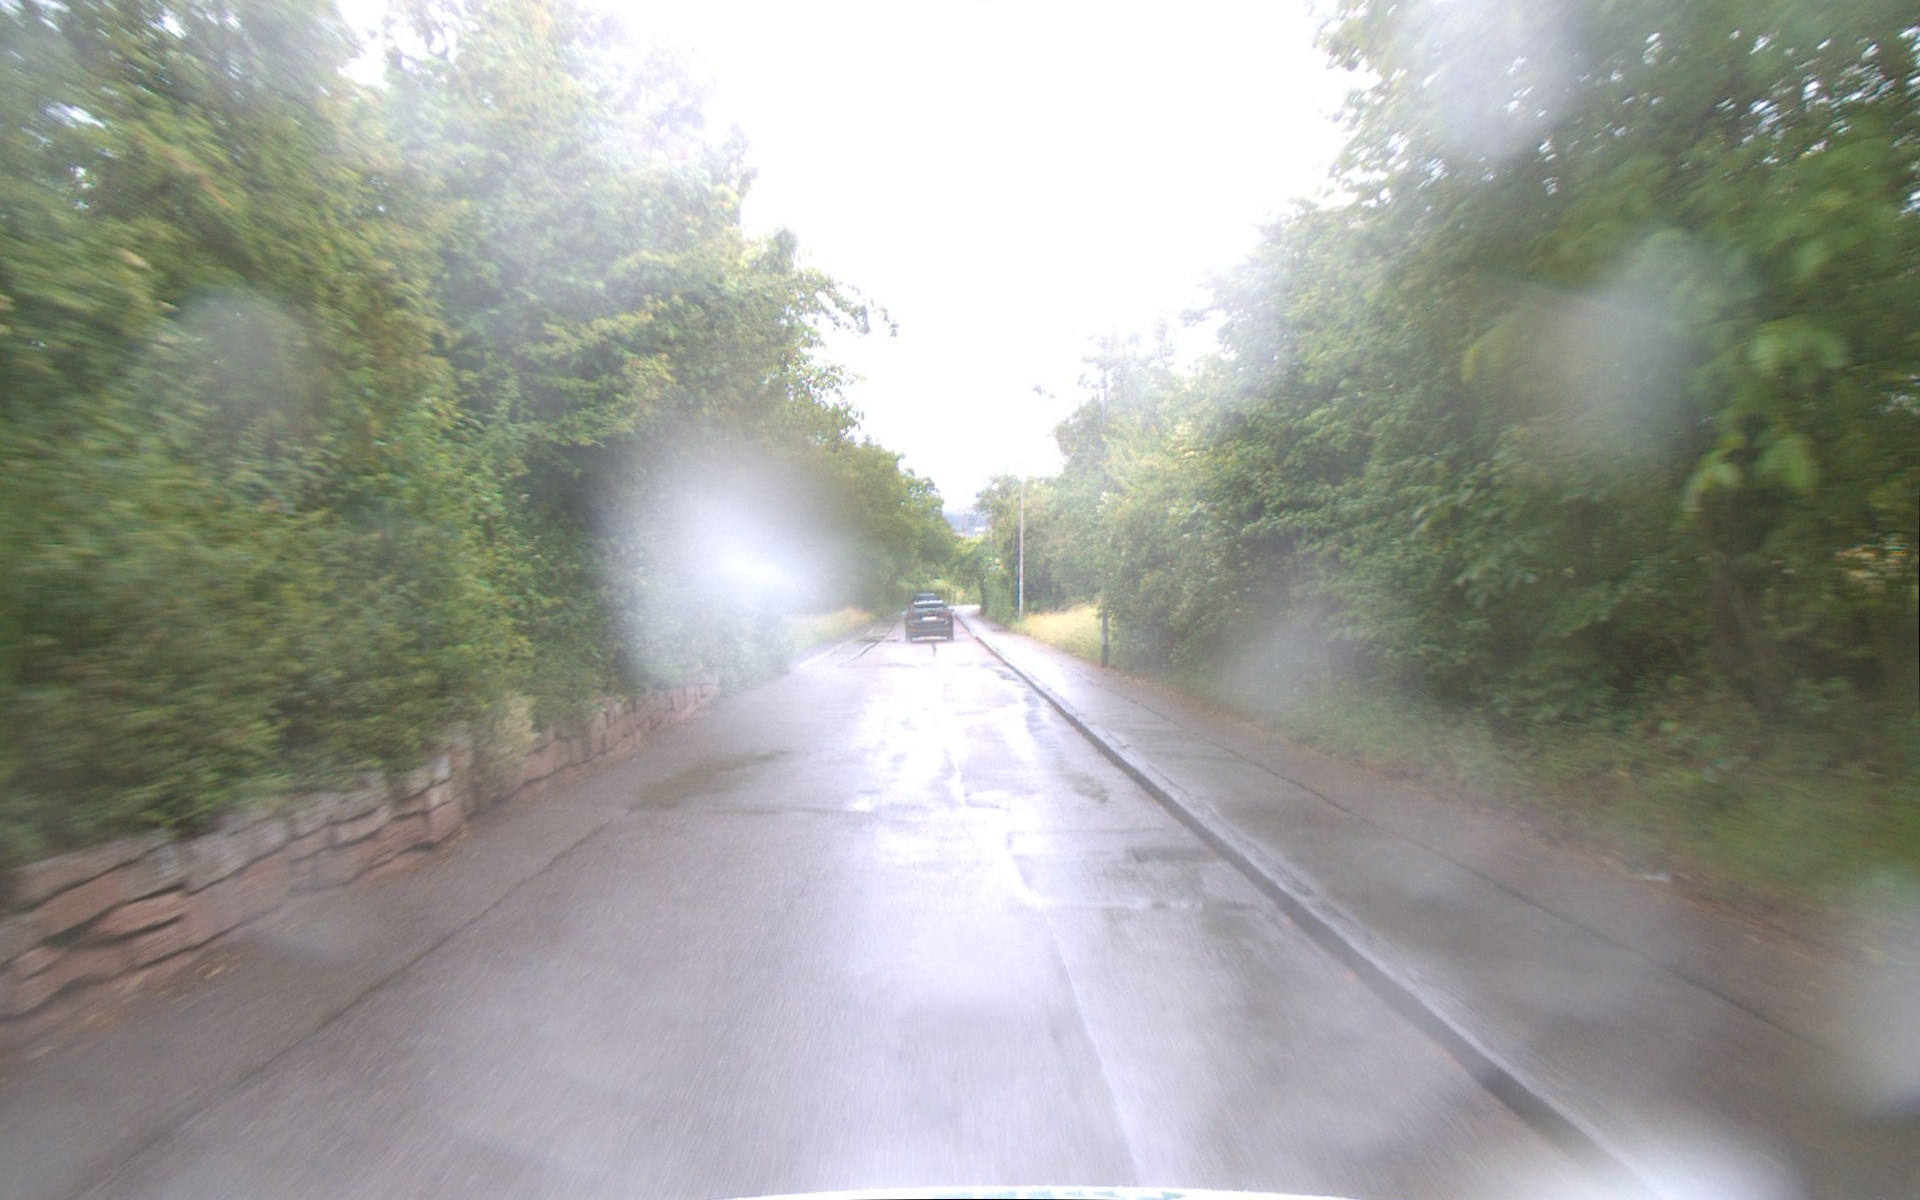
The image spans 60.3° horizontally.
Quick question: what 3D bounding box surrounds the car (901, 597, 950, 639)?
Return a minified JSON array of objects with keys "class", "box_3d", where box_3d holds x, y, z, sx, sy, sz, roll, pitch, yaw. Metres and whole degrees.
[{"class":"car","box_3d":[-1.221,0.664,59.754,1.601,1.475,3.545,-1,-1,2]}]
